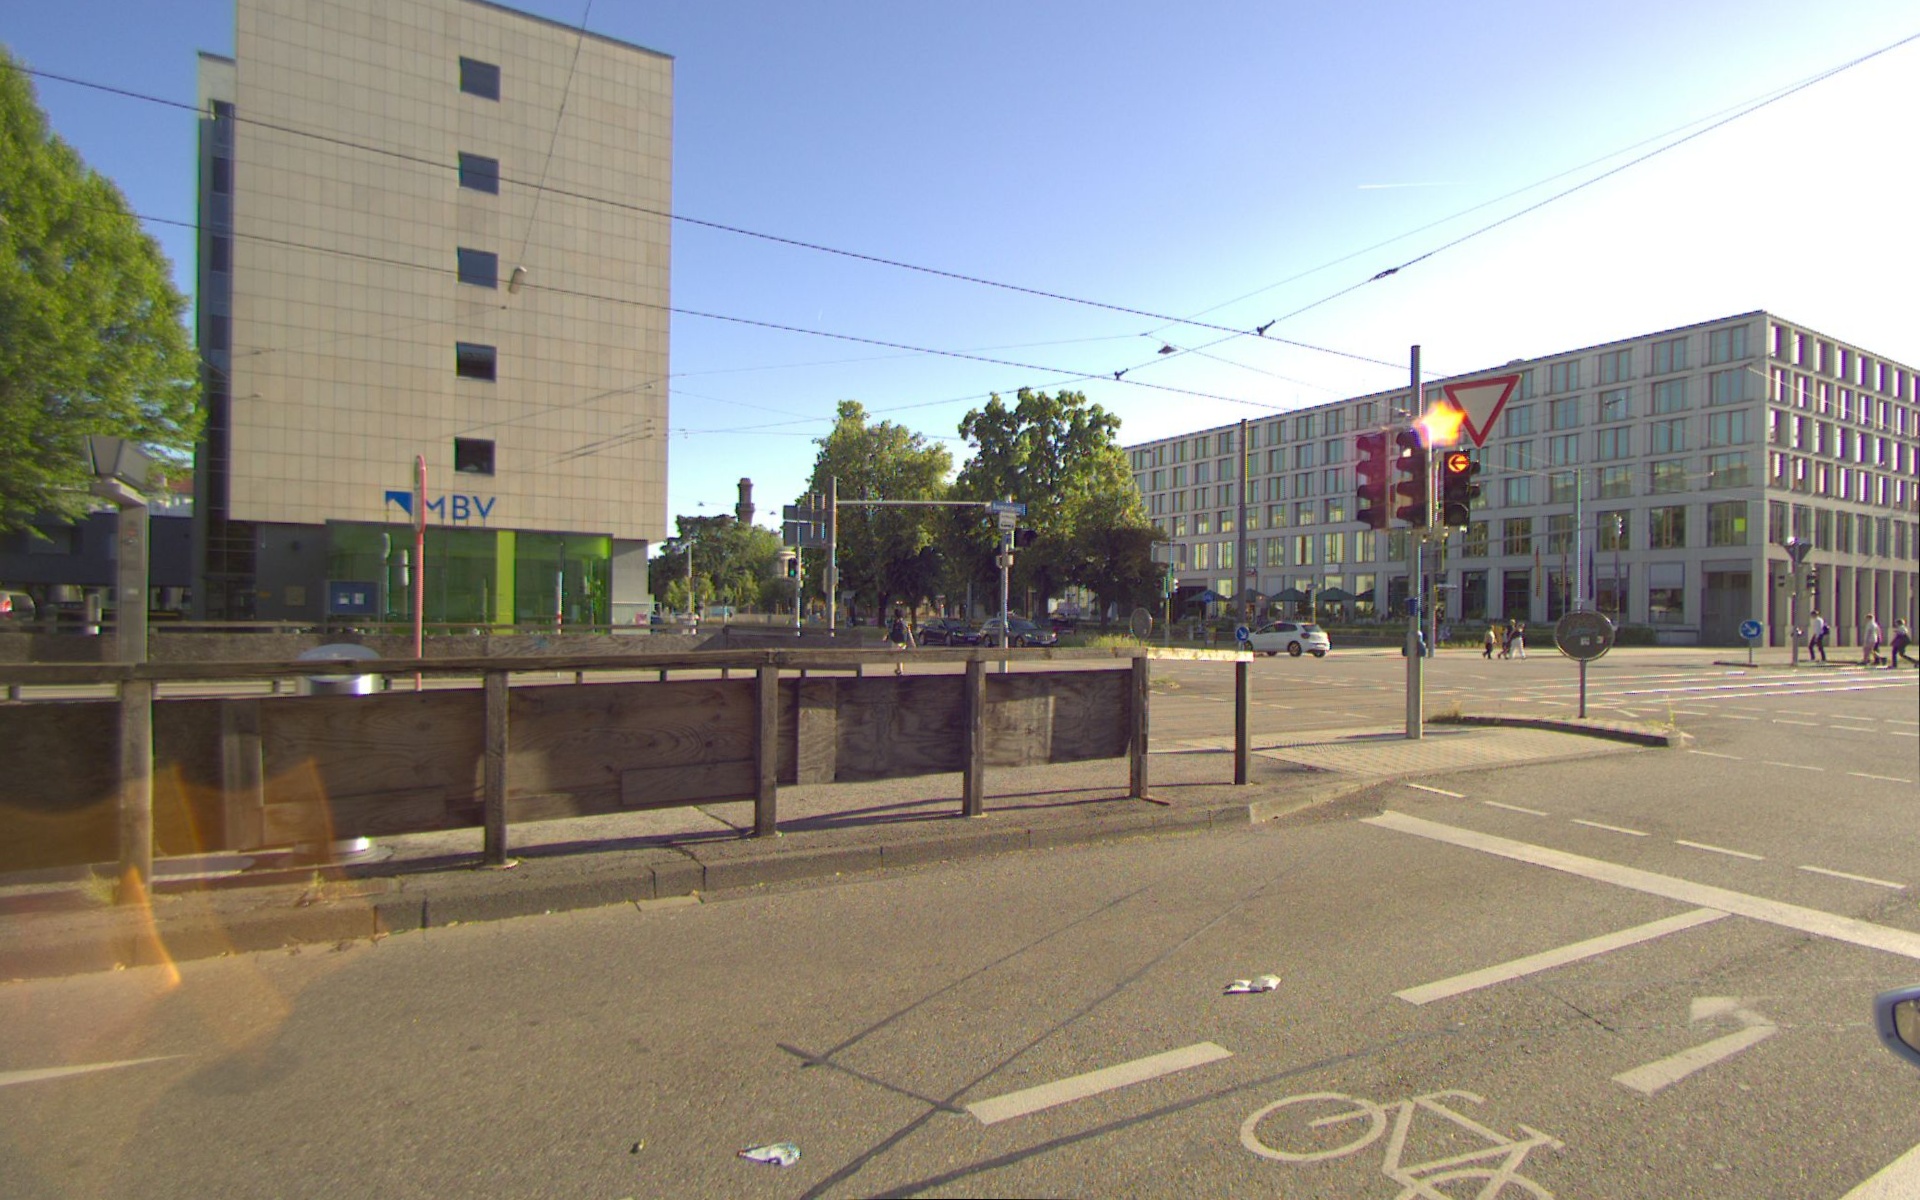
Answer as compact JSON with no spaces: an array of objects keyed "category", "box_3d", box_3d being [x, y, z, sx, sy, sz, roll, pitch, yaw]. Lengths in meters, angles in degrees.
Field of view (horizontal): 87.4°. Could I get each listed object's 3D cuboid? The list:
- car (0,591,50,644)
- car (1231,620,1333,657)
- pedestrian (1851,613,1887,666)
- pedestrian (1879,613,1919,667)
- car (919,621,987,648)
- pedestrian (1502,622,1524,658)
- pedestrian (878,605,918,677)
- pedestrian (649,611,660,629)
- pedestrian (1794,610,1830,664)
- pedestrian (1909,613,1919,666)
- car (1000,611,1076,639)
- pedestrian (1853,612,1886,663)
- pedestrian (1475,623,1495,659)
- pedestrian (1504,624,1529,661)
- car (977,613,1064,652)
[{"category":"car","box_3d":[-27.710,0.449,27.796,3.371,1.431,1.562,2,0,-20]},{"category":"car","box_3d":[13.624,1.622,42.708,1.614,1.452,4.021,3,-2,-31]},{"category":"pedestrian","box_3d":[32.114,1.390,35.505,0.706,1.827,0.737,1,-1,-24]},{"category":"pedestrian","box_3d":[32.246,1.360,34.475,0.654,1.827,0.868,1,-1,-24]},{"category":"car","box_3d":[-0.411,1.803,53.341,1.755,1.311,4.209,1,-1,-30]},{"category":"pedestrian","box_3d":[25.873,1.861,47.005,0.615,1.666,0.690,1,-1,-34]},{"category":"pedestrian","box_3d":[-1.533,1.013,24.746,0.814,1.739,0.757,1,-1,-18]},{"category":"pedestrian","box_3d":[-30.639,2.012,100.703,0.818,1.829,0.754,1,-1,-31]},{"category":"pedestrian","box_3d":[30.712,1.333,36.224,0.628,1.943,0.800,1,-1,-24]},{"category":"pedestrian","box_3d":[33.313,1.356,34.542,0.525,1.827,0.867,1,-1,-24]},{"category":"car","box_3d":[4.508,1.439,58.795,1.978,1.433,4.710,4,-2,-31]},{"category":"pedestrian","box_3d":[32.816,1.347,36.244,0.525,1.827,0.737,1,-1,-24]},{"category":"pedestrian","box_3d":[24.810,1.921,47.486,0.609,1.666,0.696,1,-1,1]},{"category":"pedestrian","box_3d":[25.423,1.929,45.872,0.615,1.666,0.787,1,-1,-34]},{"category":"car","box_3d":[2.820,1.528,47.845,1.832,1.602,4.490,1,1,-32]}]
